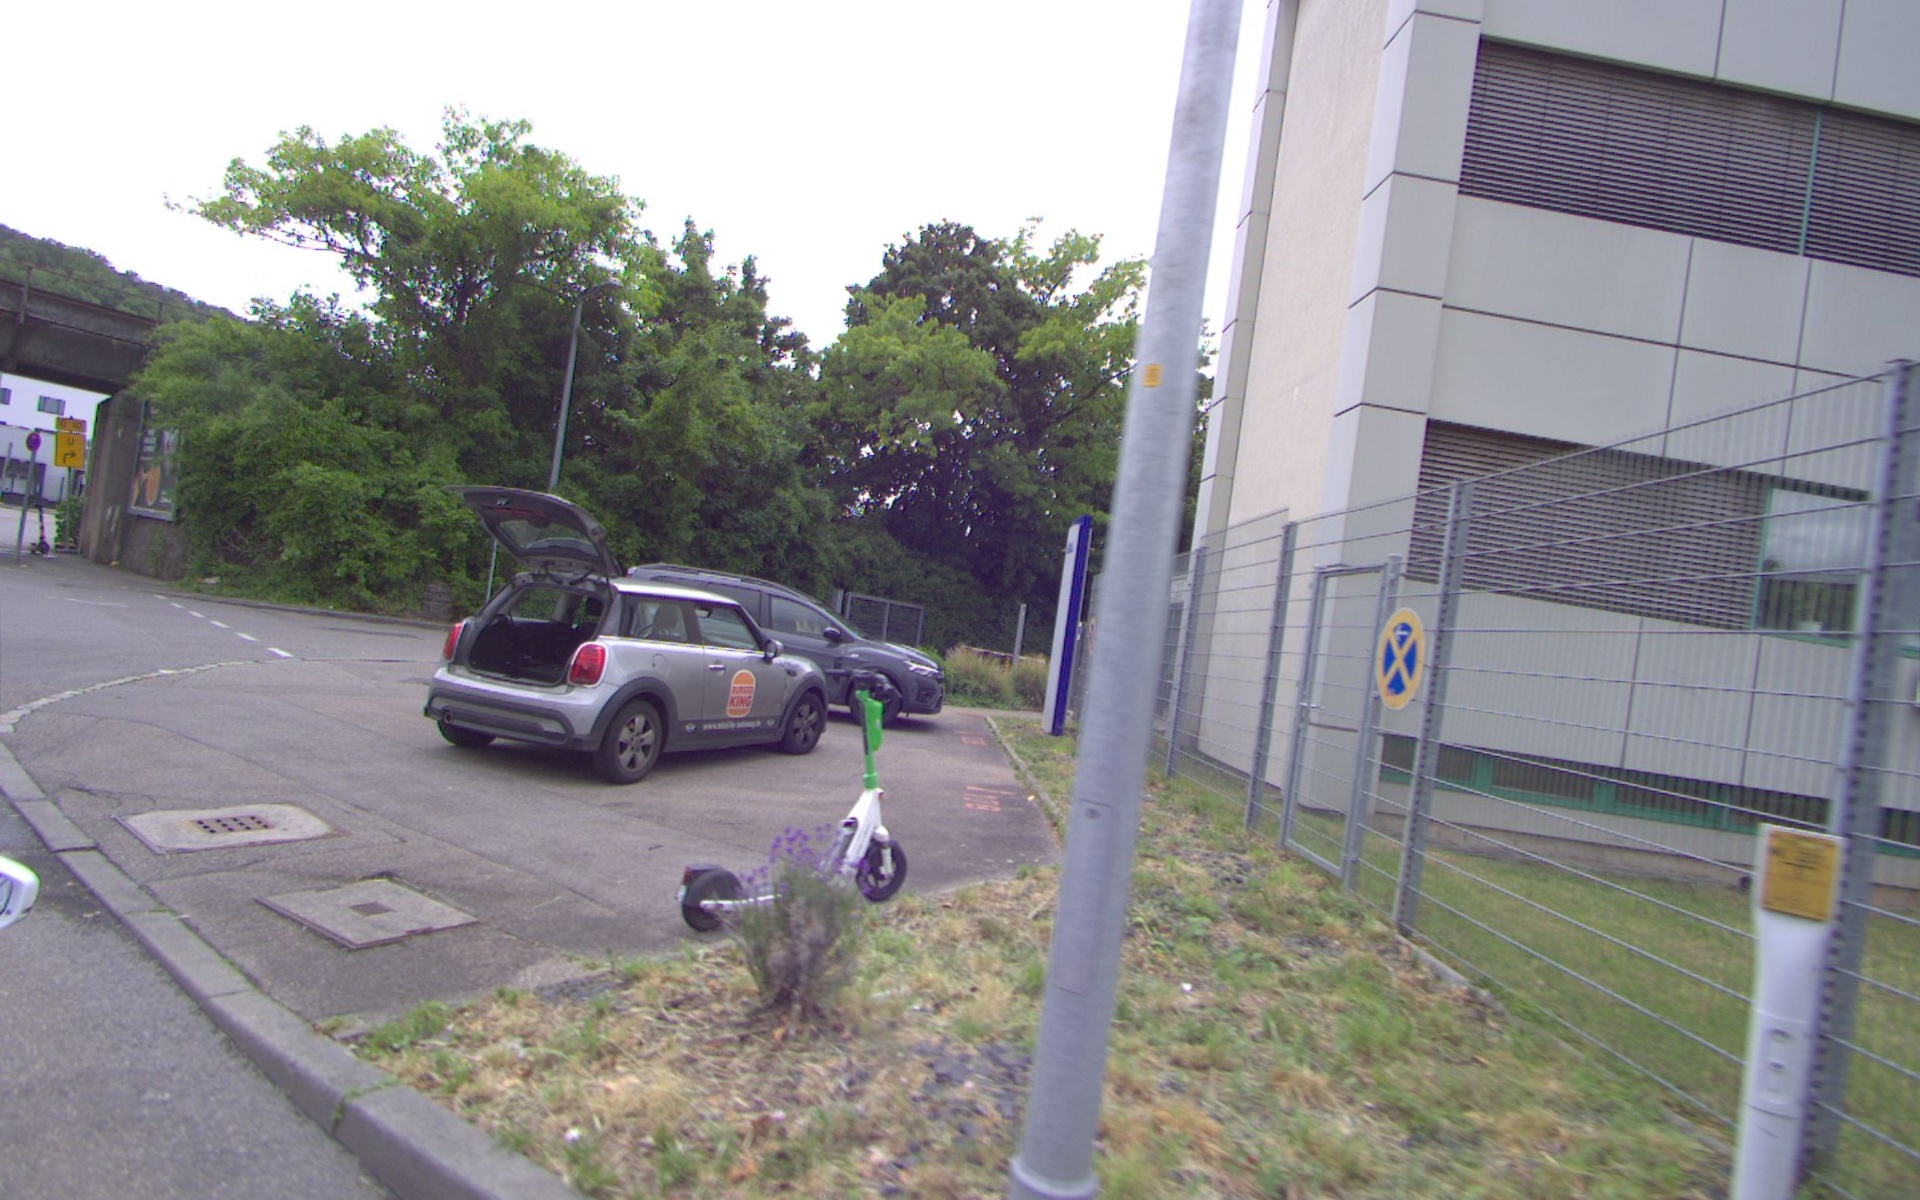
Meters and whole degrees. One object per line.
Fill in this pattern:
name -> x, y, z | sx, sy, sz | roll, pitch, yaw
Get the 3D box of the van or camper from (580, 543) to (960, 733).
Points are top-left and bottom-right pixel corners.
van or camper -> -2.333, 0.508, 13.208 | 4.422, 1.713, 1.835 | 8, -2, 2

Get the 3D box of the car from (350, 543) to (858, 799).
car -> -2.615, 0.573, 8.514 | 1.753, 1.448, 4.022 | 7, -1, 21

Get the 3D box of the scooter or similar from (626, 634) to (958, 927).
scooter or similar -> -0.737, 0.805, 4.726 | 1.411, 1.147, 0.474 | 7, 0, -44

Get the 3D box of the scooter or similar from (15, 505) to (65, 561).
scooter or similar -> -23.027, -1.682, 25.163 | 1.643, 1.253, 0.504 | 7, 3, 33
